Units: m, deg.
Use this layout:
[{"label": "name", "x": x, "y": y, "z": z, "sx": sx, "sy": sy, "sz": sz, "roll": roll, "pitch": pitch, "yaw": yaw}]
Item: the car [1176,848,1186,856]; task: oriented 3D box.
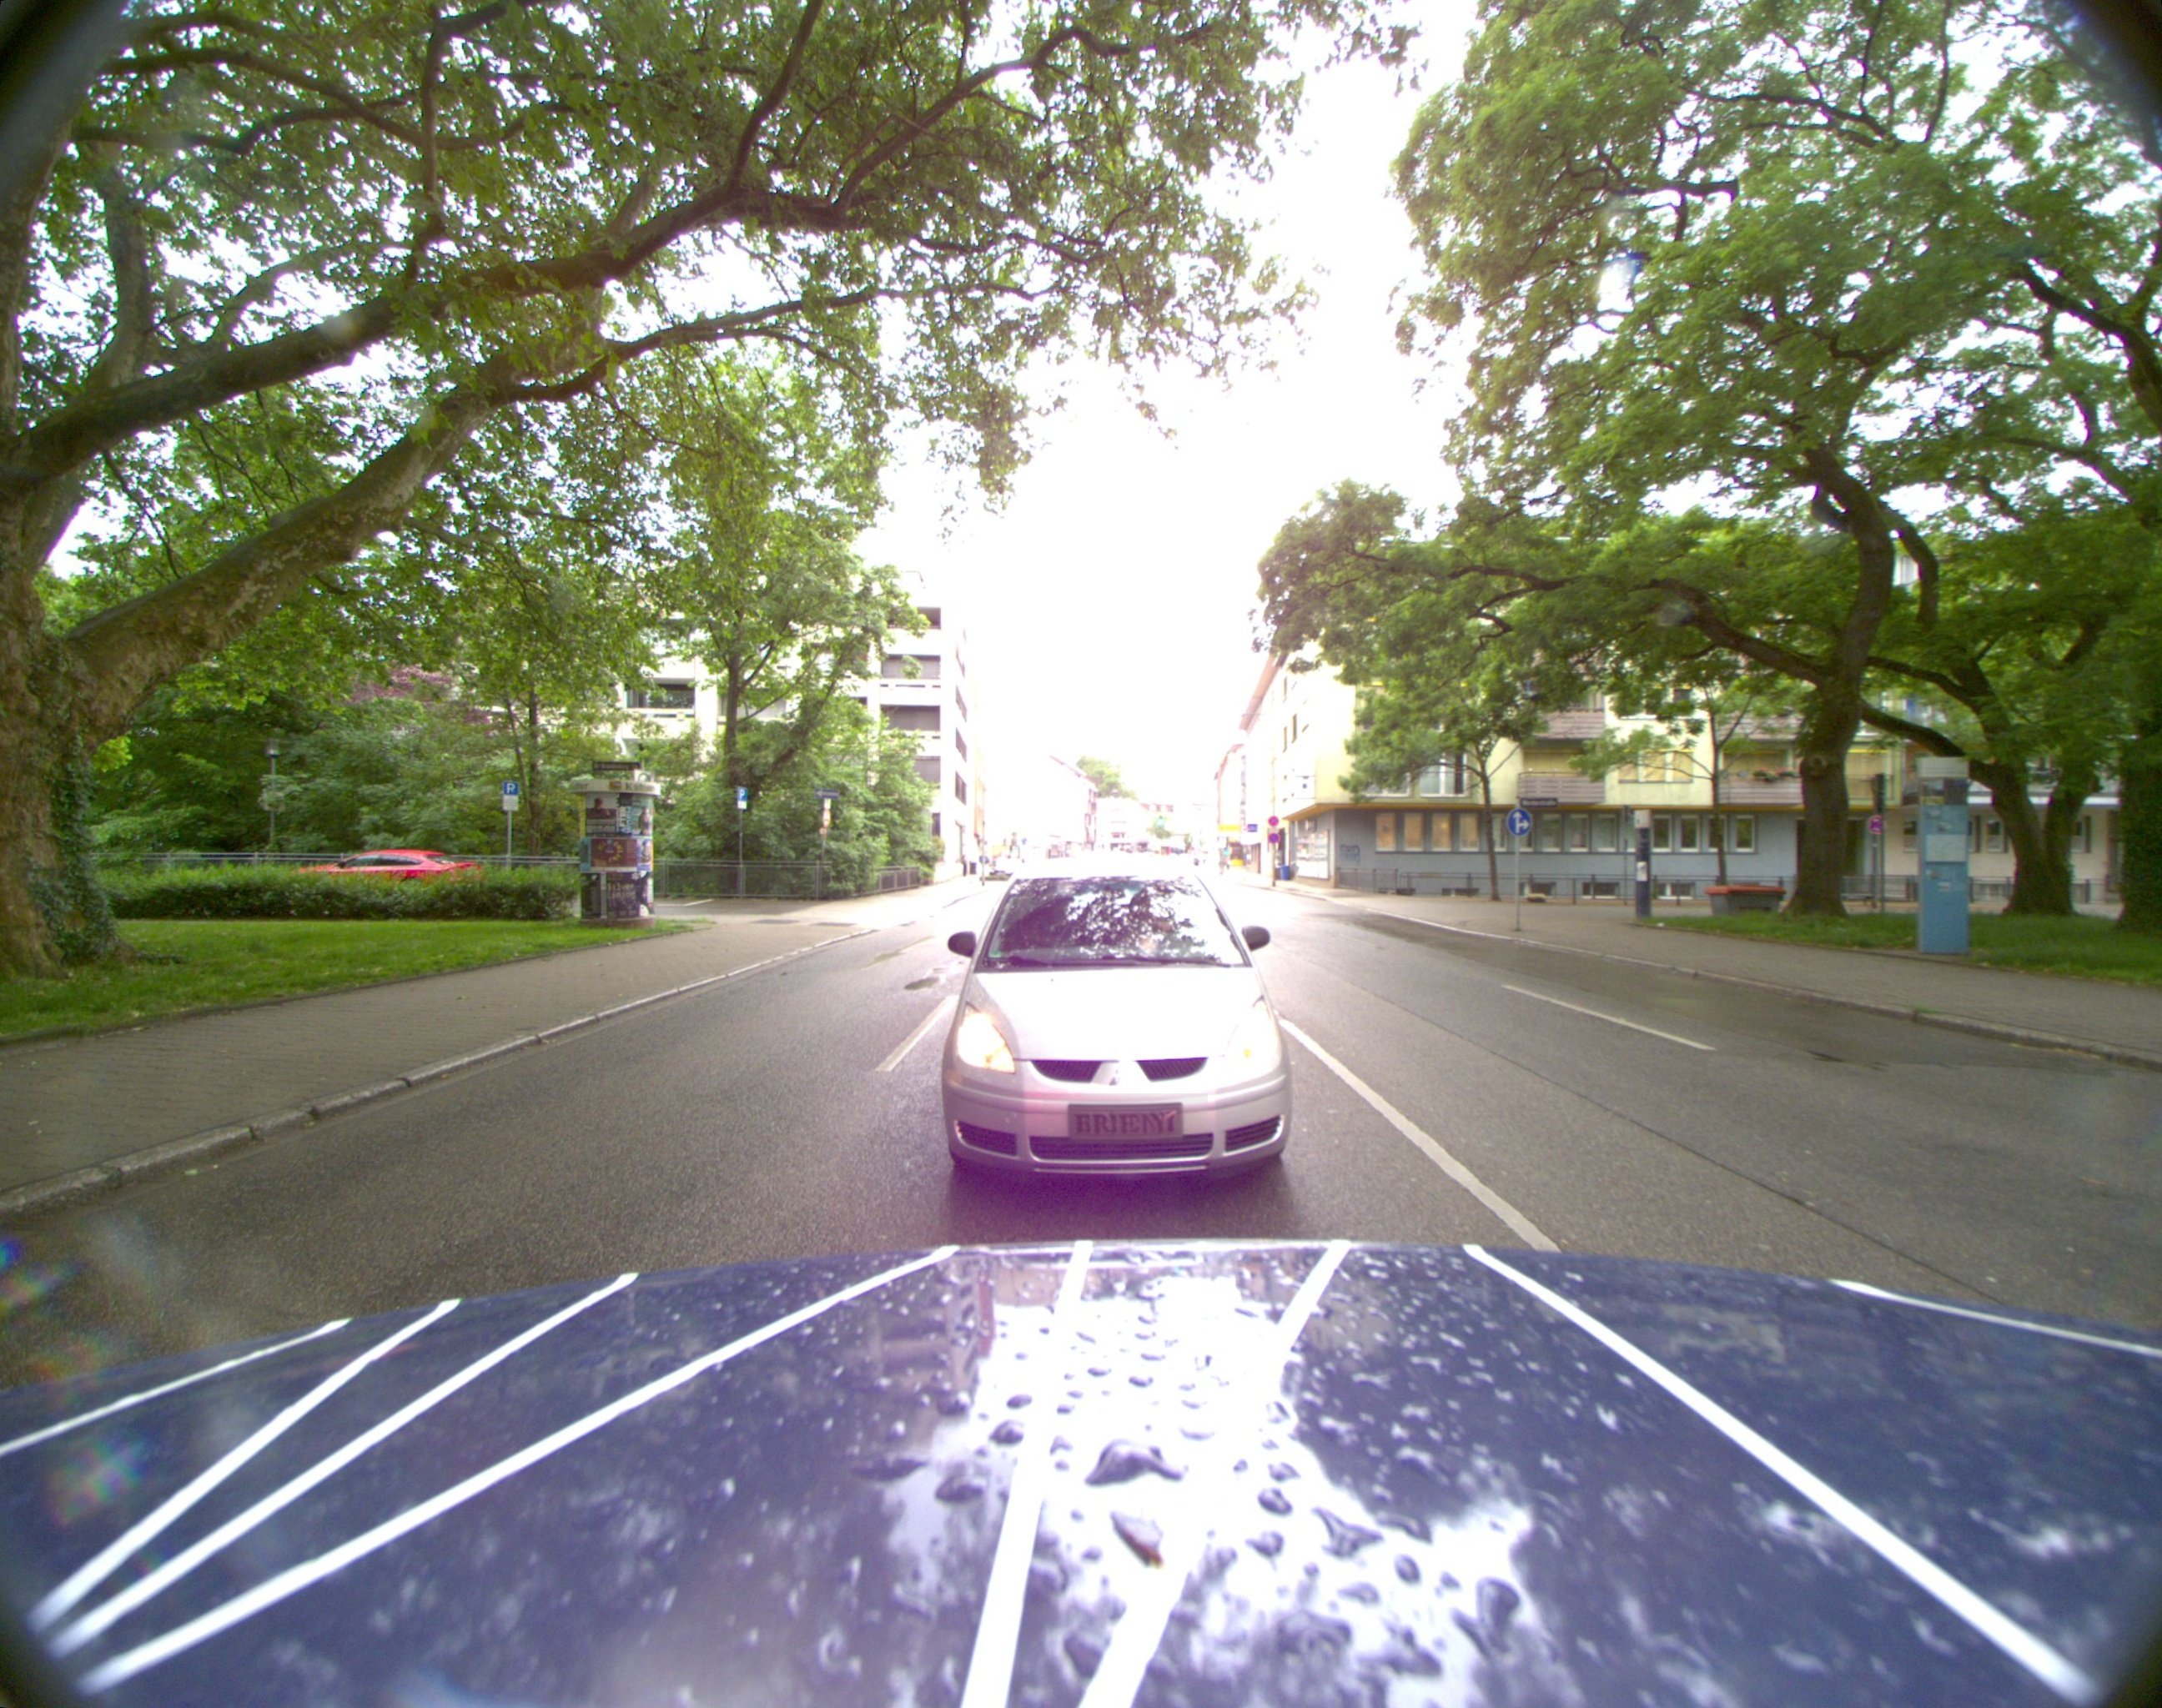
[{"label": "car", "x": 22.010, "y": -0.412, "z": 167.133, "sx": 1.998, "sy": 1.841, "sz": 4.001, "roll": 1, "pitch": 0, "yaw": 4}]

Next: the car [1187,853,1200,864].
[{"label": "car", "x": 17.910, "y": 0.690, "z": 121.067, "sx": 1.889, "sy": 1.707, "sz": 4.001, "roll": 1, "pitch": 0, "yaw": 4}]

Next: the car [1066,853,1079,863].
[{"label": "car", "x": -1.168, "y": 0.592, "z": 108.926, "sx": 1.802, "sy": 1.433, "sz": 3.896, "roll": 1, "pitch": 0, "yaw": 0}]

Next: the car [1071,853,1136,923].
[{"label": "car", "x": 0.557, "y": 0.853, "z": 20.635, "sx": 1.584, "sy": 1.705, "sz": 3.649, "roll": 1, "pitch": 0, "yaw": 0}]

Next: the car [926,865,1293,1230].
[{"label": "car", "x": 0.150, "y": 0.876, "z": 4.952, "sx": 1.576, "sy": 1.514, "sz": 3.241, "roll": -1, "pitch": 0, "yaw": 1}]

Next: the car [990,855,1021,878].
[{"label": "car", "x": -5.311, "y": 0.863, "z": 53.509, "sx": 1.681, "sy": 1.424, "sz": 3.681, "roll": 3, "pitch": 0, "yaw": 1}]

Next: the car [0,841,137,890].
[{"label": "car", "x": -29.143, "y": 0.300, "z": 21.250, "sx": 3.468, "sy": 1.271, "sz": 1.448, "roll": 1, "pitch": 1, "yaw": -5}]

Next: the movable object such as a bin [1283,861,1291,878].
[{"label": "movable object such as a bin", "x": 13.082, "y": 0.985, "z": 48.242, "sx": 0.415, "sy": 1.023, "sz": 0.353, "roll": 1, "pitch": 1, "yaw": 8}]

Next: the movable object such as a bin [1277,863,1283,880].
[{"label": "movable object such as a bin", "x": 12.672, "y": 1.117, "z": 48.361, "sx": 0.338, "sy": 1.023, "sz": 0.353, "roll": 1, "pitch": 1, "yaw": 8}]

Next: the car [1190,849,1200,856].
[{"label": "car", "x": 25.049, "y": -0.312, "z": 166.427, "sx": 1.867, "sy": 1.648, "sz": 4.001, "roll": 1, "pitch": 0, "yaw": 4}]

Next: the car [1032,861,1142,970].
[{"label": "car", "x": 0.169, "y": 0.921, "z": 13.046, "sx": 1.590, "sy": 1.540, "sz": 3.771, "roll": 1, "pitch": 0, "yaw": 2}]

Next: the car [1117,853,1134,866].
[{"label": "car", "x": 4.832, "y": 0.598, "z": 83.335, "sx": 1.701, "sy": 1.433, "sz": 3.897, "roll": 1, "pitch": 0, "yaw": 1}]

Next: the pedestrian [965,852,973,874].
[{"label": "pedestrian", "x": -8.057, "y": 0.659, "z": 54.585, "sx": 0.480, "sy": 1.521, "sz": 0.481, "roll": -2, "pitch": 1, "yaw": 1}]

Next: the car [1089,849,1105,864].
[{"label": "car", "x": 2.069, "y": 0.289, "z": 98.387, "sx": 1.935, "sy": 1.817, "sz": 3.999, "roll": -2, "pitch": 1, "yaw": 0}]

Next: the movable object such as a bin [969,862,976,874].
[{"label": "movable object such as a bin", "x": -8.991, "y": 1.169, "z": 62.935, "sx": 0.556, "sy": 1.035, "sz": 0.292, "roll": 1, "pitch": 1, "yaw": 0}]

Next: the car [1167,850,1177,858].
[{"label": "car", "x": 19.143, "y": -0.021, "z": 160.411, "sx": 1.998, "sy": 1.631, "sz": 4.001, "roll": 1, "pitch": 0, "yaw": 4}]

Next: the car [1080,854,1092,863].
[{"label": "car", "x": 0.760, "y": 0.666, "z": 114.127, "sx": 1.802, "sy": 1.433, "sz": 3.897, "roll": 1, "pitch": 0, "yaw": 1}]

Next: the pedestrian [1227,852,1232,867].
[{"label": "pedestrian", "x": 17.496, "y": 0.659, "z": 89.549, "sx": 0.594, "sy": 1.833, "sz": 0.565, "roll": 1, "pitch": 1, "yaw": 8}]

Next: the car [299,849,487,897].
[{"label": "car", "x": -19.421, "y": 0.516, "z": 21.571, "sx": 3.790, "sy": 1.271, "sz": 1.576, "roll": 1, "pitch": 1, "yaw": -3}]
